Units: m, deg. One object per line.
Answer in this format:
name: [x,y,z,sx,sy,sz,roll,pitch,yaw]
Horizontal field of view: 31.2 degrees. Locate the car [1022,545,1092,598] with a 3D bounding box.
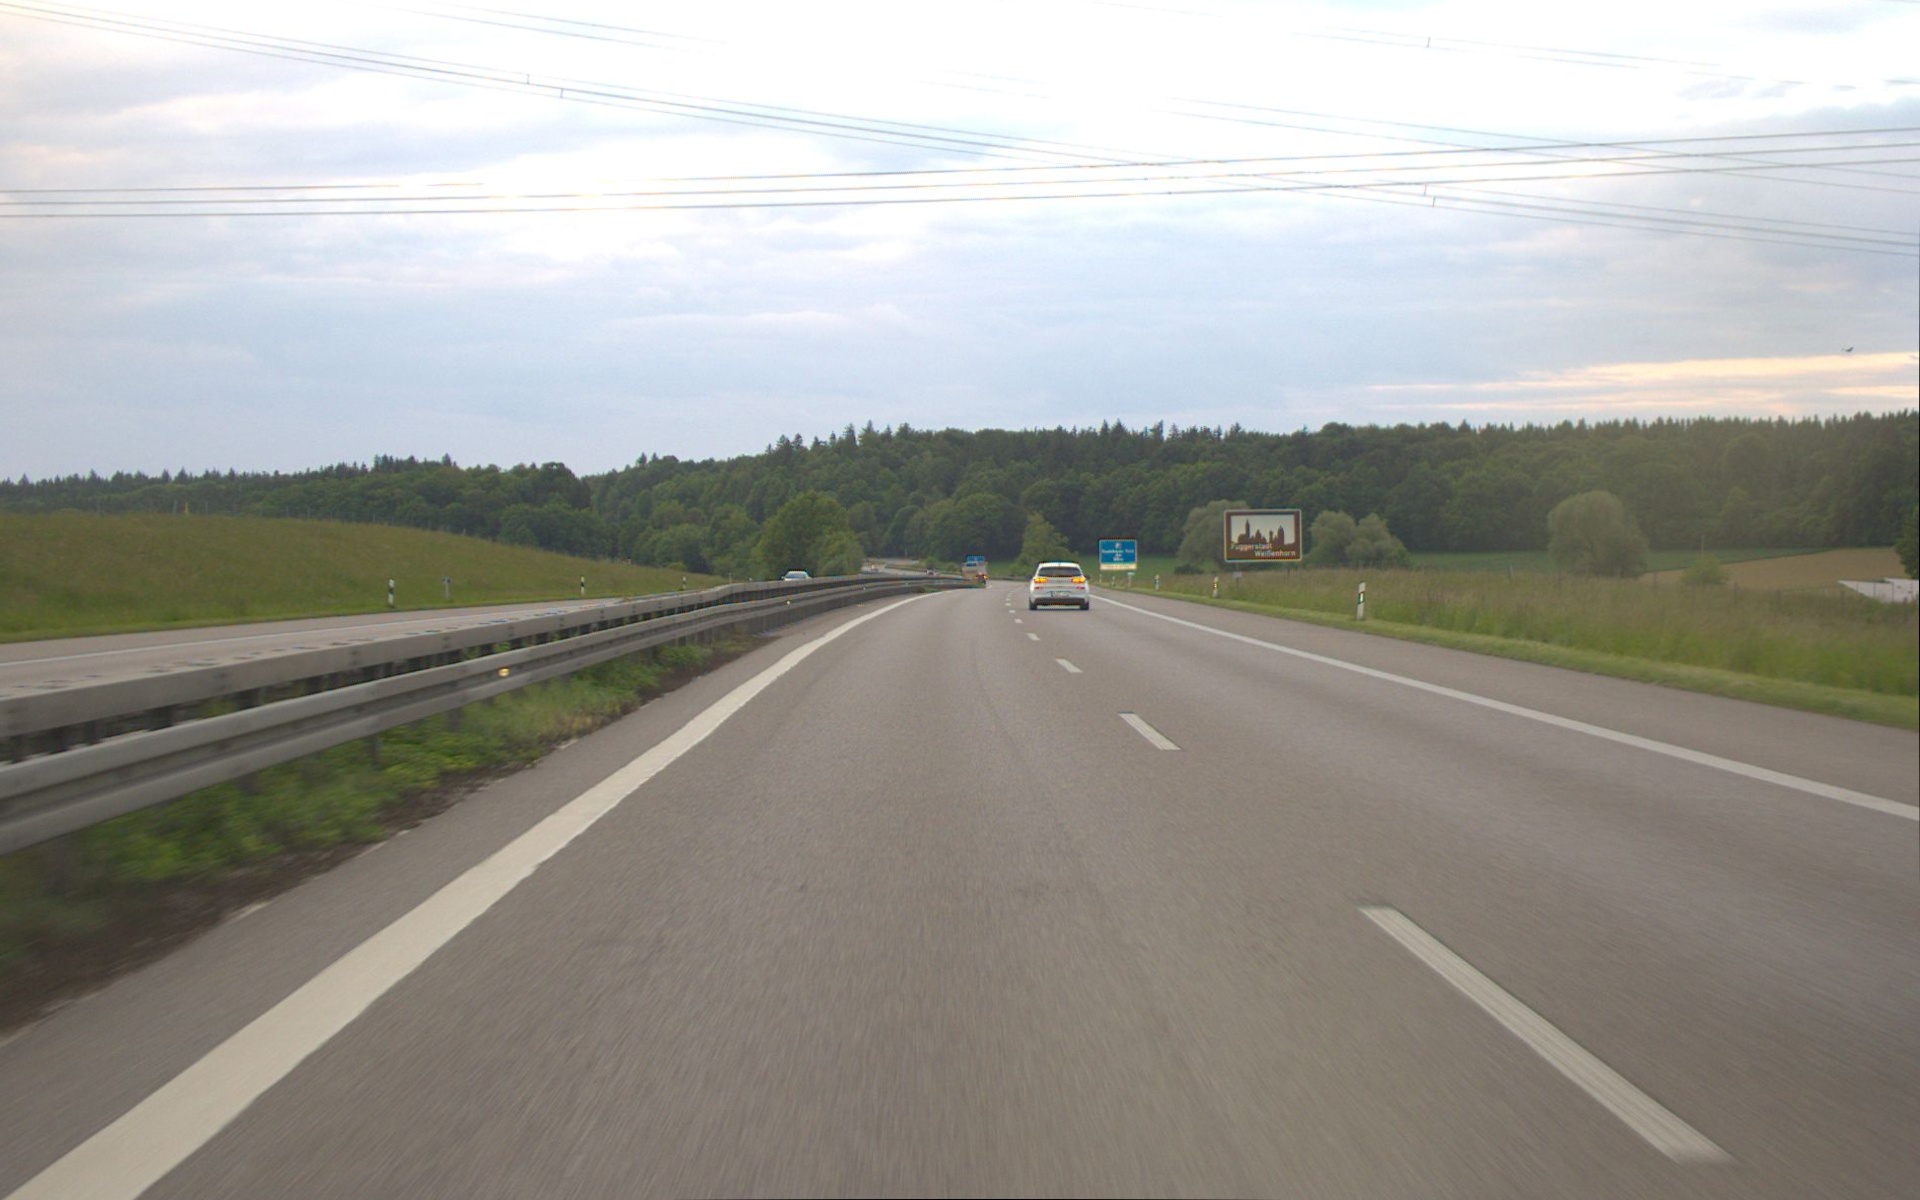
car: [2.932,-0.878,104.717,1.951,1.526,4.080,1,1,-1]

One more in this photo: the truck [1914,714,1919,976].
truck: [4.427,0.195,8.012,2.172,2.352,7.697,1,1,0]
